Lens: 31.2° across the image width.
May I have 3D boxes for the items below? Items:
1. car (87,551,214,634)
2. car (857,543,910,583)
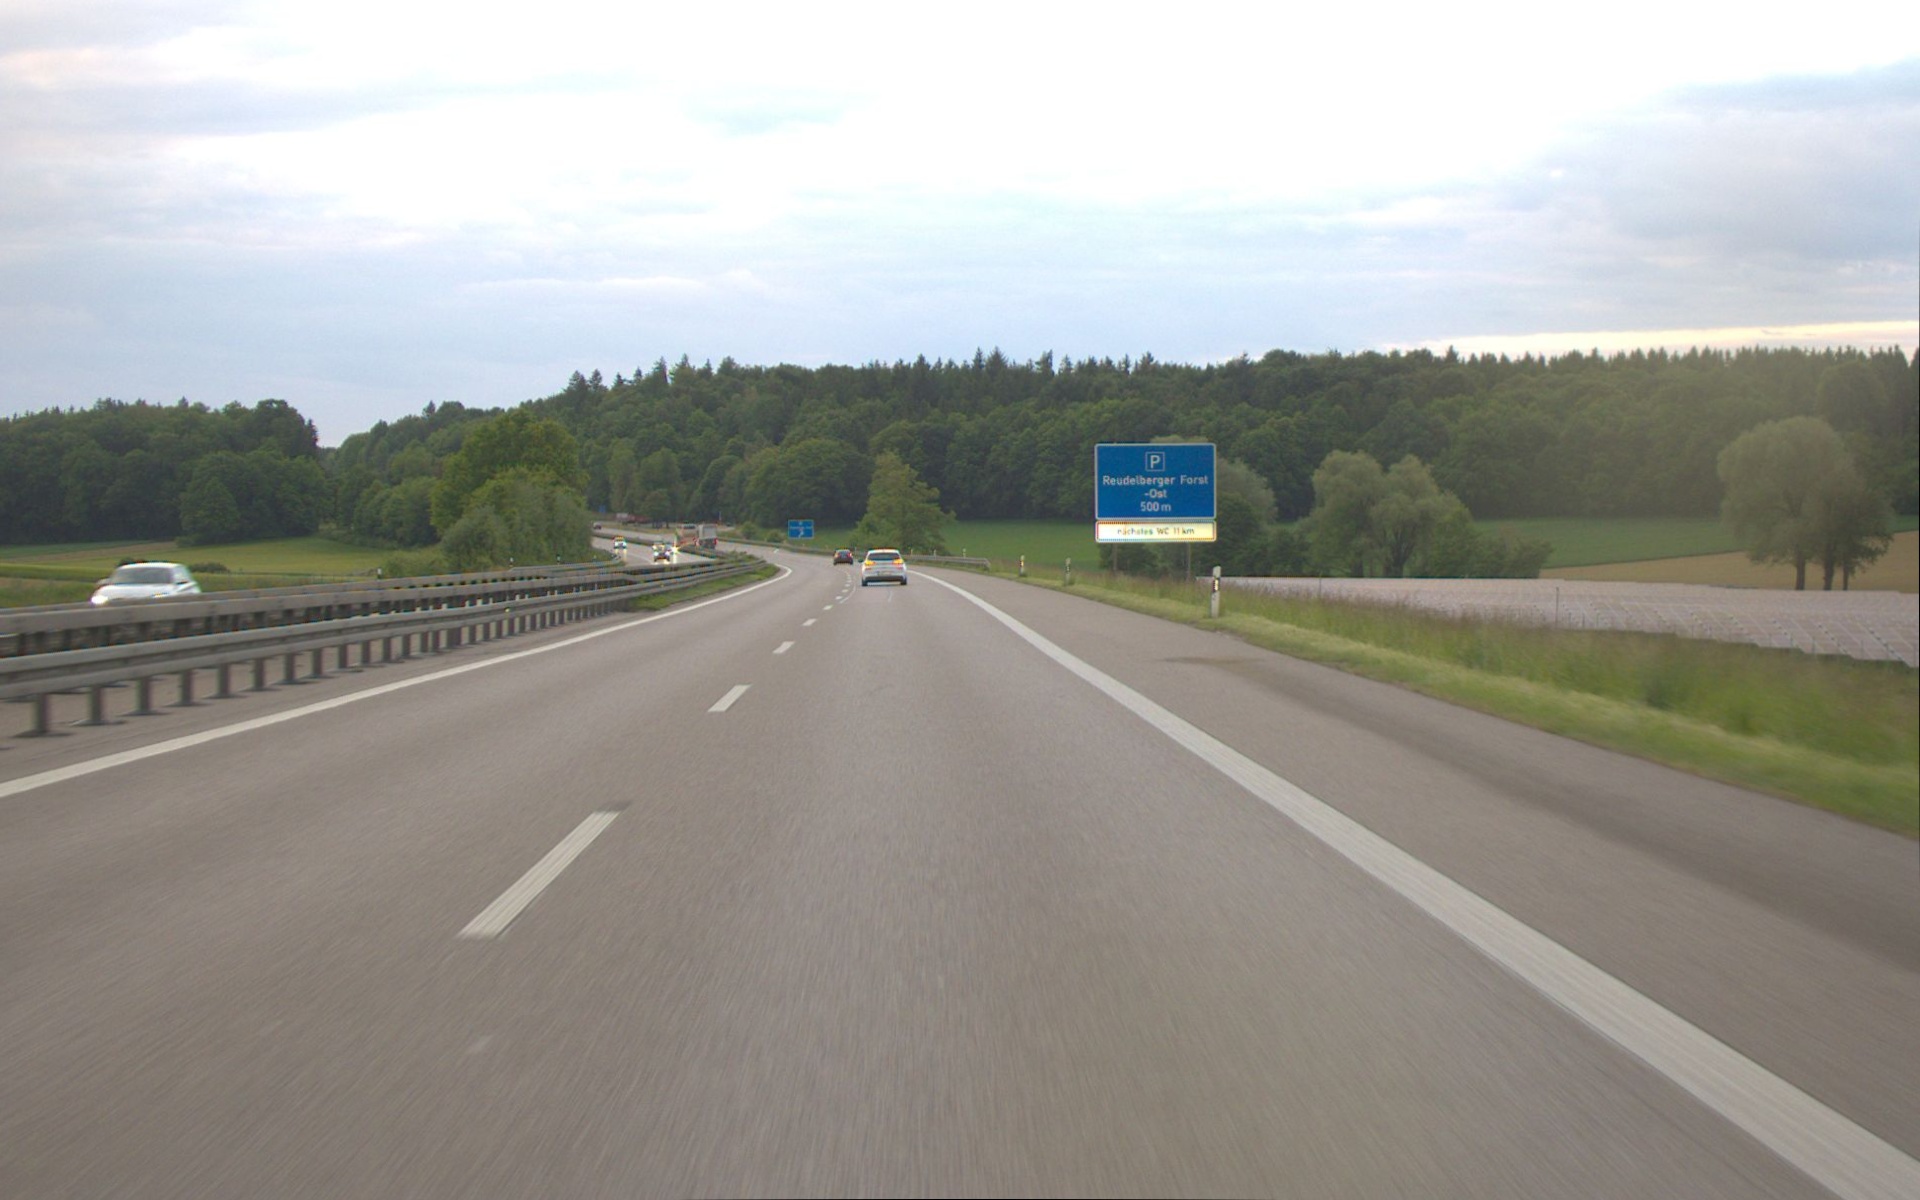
[{"bbox_3d":[-18.054,-0.194,76.846,1.790,1.693,4.590,1,1,-1],"label":"car"},{"bbox_3d":[-3.093,-1.508,138.442,1.951,1.526,4.081,1,1,-3],"label":"car"}]
